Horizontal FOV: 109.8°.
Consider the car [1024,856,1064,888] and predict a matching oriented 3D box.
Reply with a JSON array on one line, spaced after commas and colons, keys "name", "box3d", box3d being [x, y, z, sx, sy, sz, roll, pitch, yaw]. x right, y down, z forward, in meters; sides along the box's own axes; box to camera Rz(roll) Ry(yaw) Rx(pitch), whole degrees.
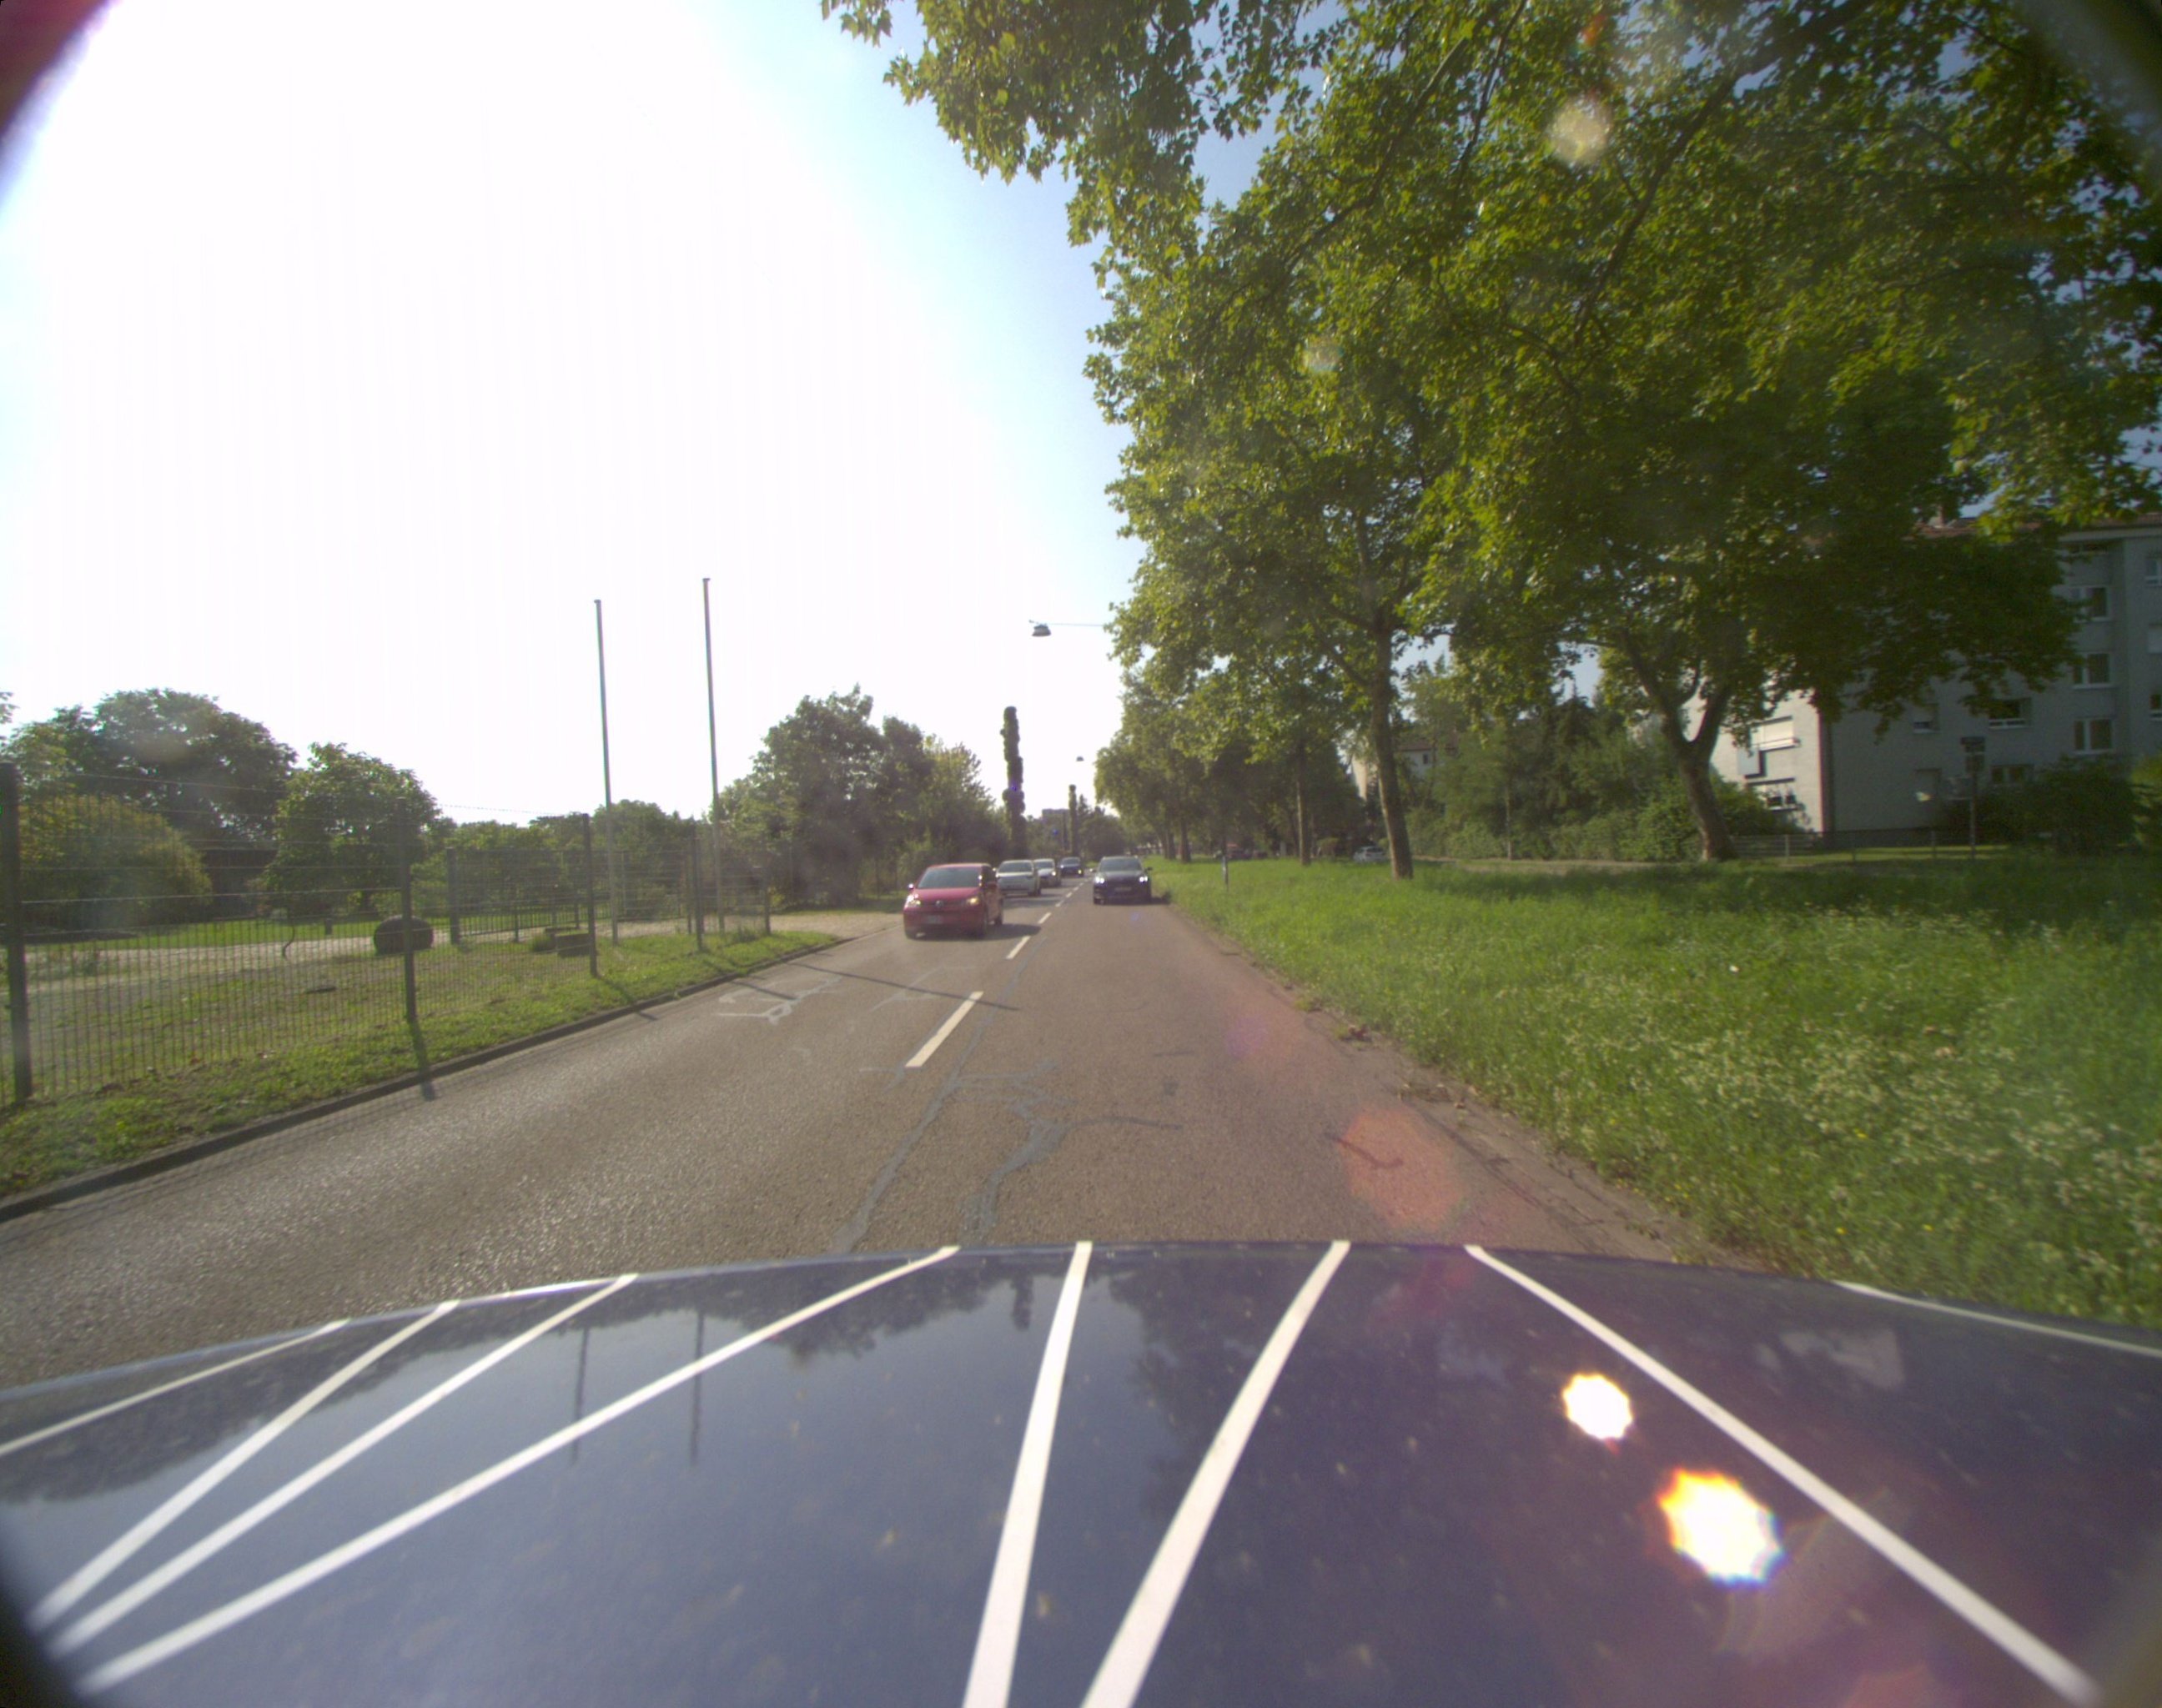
[{"name": "car", "box3d": [-1.921, 0.925, 40.371, 1.649, 1.467, 3.899, -3, 1, 3]}]

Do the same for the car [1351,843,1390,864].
[{"name": "car", "box3d": [22.162, -0.035, 58.344, 1.649, 1.471, 3.899, -3, 1, 3]}]

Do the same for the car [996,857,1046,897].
[{"name": "car", "box3d": [-2.472, 0.927, 32.151, 1.649, 1.467, 3.899, -3, 1, 2]}]

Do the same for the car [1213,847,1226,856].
[{"name": "car", "box3d": [24.218, -0.495, 133.092, 1.649, 1.471, 3.899, -3, 1, 3]}]

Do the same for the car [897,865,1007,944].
[{"name": "car", "box3d": [-2.661, 1.008, 16.421, 1.578, 1.390, 3.472, -1, 1, 3]}]

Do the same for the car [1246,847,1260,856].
[{"name": "car", "box3d": [26.914, -0.419, 118.771, 1.612, 1.284, 3.523, -3, 1, 5]}]

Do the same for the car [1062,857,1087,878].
[{"name": "car", "box3d": [-0.442, 1.033, 59.042, 1.649, 1.378, 3.899, -3, 1, 3]}]

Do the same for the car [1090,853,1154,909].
[{"name": "car", "box3d": [1.320, 0.816, 24.686, 1.862, 1.572, 3.612, -3, 1, 3]}]

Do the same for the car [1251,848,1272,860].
[{"name": "car", "box3d": [21.295, -0.013, 89.759, 1.649, 1.356, 3.899, -3, 0, 1]}]

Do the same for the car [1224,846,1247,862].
[{"name": "car", "box3d": [17.438, -0.021, 85.761, 1.779, 1.607, 4.857, -3, 1, 3]}]
